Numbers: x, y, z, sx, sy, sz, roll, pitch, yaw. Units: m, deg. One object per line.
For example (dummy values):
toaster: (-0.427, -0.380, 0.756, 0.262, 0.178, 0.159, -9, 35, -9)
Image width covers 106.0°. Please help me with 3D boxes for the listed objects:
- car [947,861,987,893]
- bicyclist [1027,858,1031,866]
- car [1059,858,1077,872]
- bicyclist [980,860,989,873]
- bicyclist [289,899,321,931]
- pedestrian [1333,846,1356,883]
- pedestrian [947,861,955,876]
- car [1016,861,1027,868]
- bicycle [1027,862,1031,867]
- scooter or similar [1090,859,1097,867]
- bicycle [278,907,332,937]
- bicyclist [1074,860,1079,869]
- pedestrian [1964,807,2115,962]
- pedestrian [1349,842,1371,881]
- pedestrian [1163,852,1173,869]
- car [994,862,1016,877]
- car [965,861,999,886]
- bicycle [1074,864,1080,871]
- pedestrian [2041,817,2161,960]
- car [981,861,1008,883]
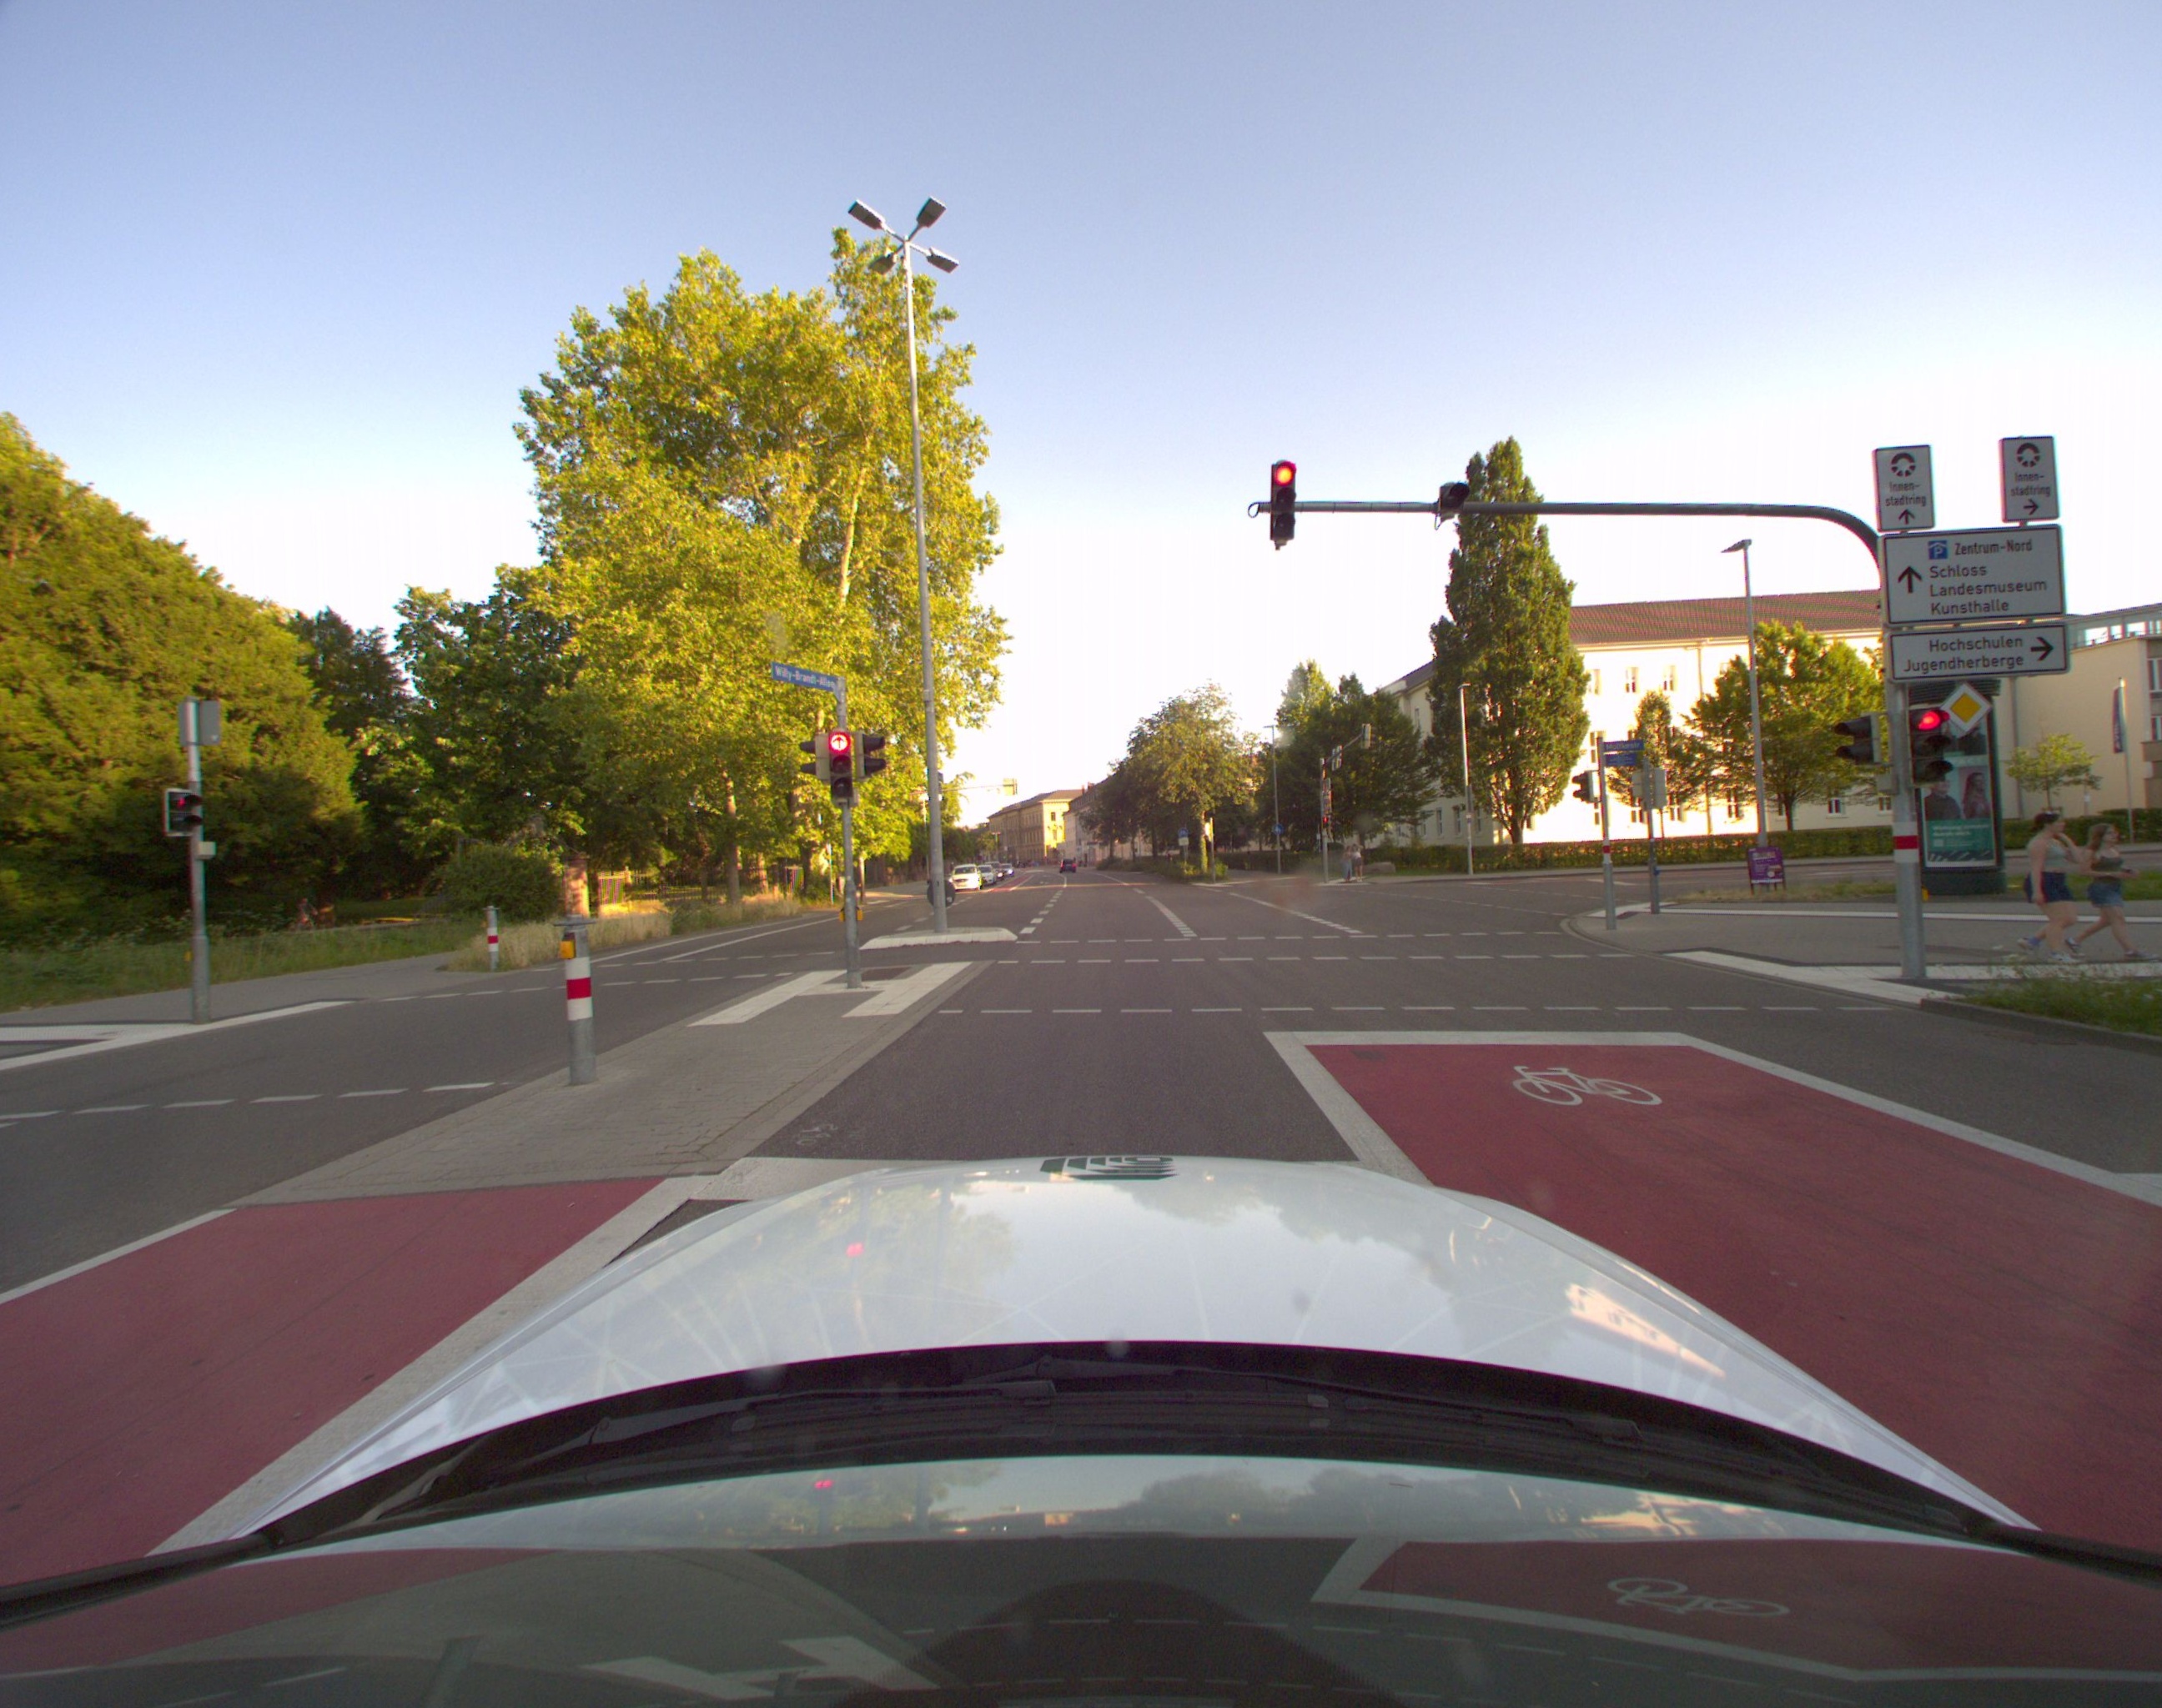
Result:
car: (-7.023, 1.391, 50.695, 1.912, 1.695, 4.422, -5, 0, -2)
bicyclist: (-11.736, 1.776, 183.989, 0.652, 1.698, 0.954, 0, -1, -9)
car: (-1.415, 1.211, 89.643, 1.862, 1.510, 3.999, -2, -1, 0)
bicyclist: (-11.092, 1.459, 93.753, 0.852, 1.431, 0.944, -2, 0, 2)
bicyclist: (-35.453, 2.793, 37.209, 0.840, 1.361, 0.569, -3, -1, -22)
pedestrian: (11.872, 0.457, 36.723, 0.678, 1.622, 0.845, -3, 0, 1)
pedestrian: (-14.556, 1.660, 91.419, 0.678, 1.622, 0.689, -3, 0, 1)
car: (-12.950, 2.236, 177.425, 1.915, 1.417, 4.756, -5, 0, -8)
bicycle: (-11.727, 2.388, 183.951, 0.652, 1.015, 2.191, 0, -1, -9)
scooter or similar: (2.248, 1.655, 145.509, 0.630, 1.337, 2.390, -2, -1, -12)
bicycle: (-35.427, 3.106, 37.185, 1.634, 1.229, 0.569, -3, 0, -22)
bicyclist: (-0.669, 1.587, 123.901, 0.651, 1.475, 0.938, 0, -1, -7)
pedestrian: (10.880, 0.338, 9.277, 0.716, 1.660, 0.777, -3, 0, 2)
pedestrian: (12.567, 0.333, 36.727, 0.678, 1.754, 0.689, -3, 0, 1)
pedestrian: (9.220, 0.678, 86.579, 0.769, 1.739, 0.805, -3, 0, -8)
car: (-7.959, 1.604, 85.931, 1.912, 1.417, 4.766, -5, 0, -2)
car: (-7.180, 1.416, 59.400, 1.912, 1.583, 4.670, -5, 0, -2)
bicycle: (-0.664, 2.071, 123.896, 0.651, 1.015, 2.193, 0, -1, -6)
pedestrian: (11.672, 0.364, 9.166, 0.732, 1.523, 0.790, -3, 0, 3)
car: (-7.456, 1.532, 70.764, 1.912, 1.624, 4.635, -5, 0, -2)
